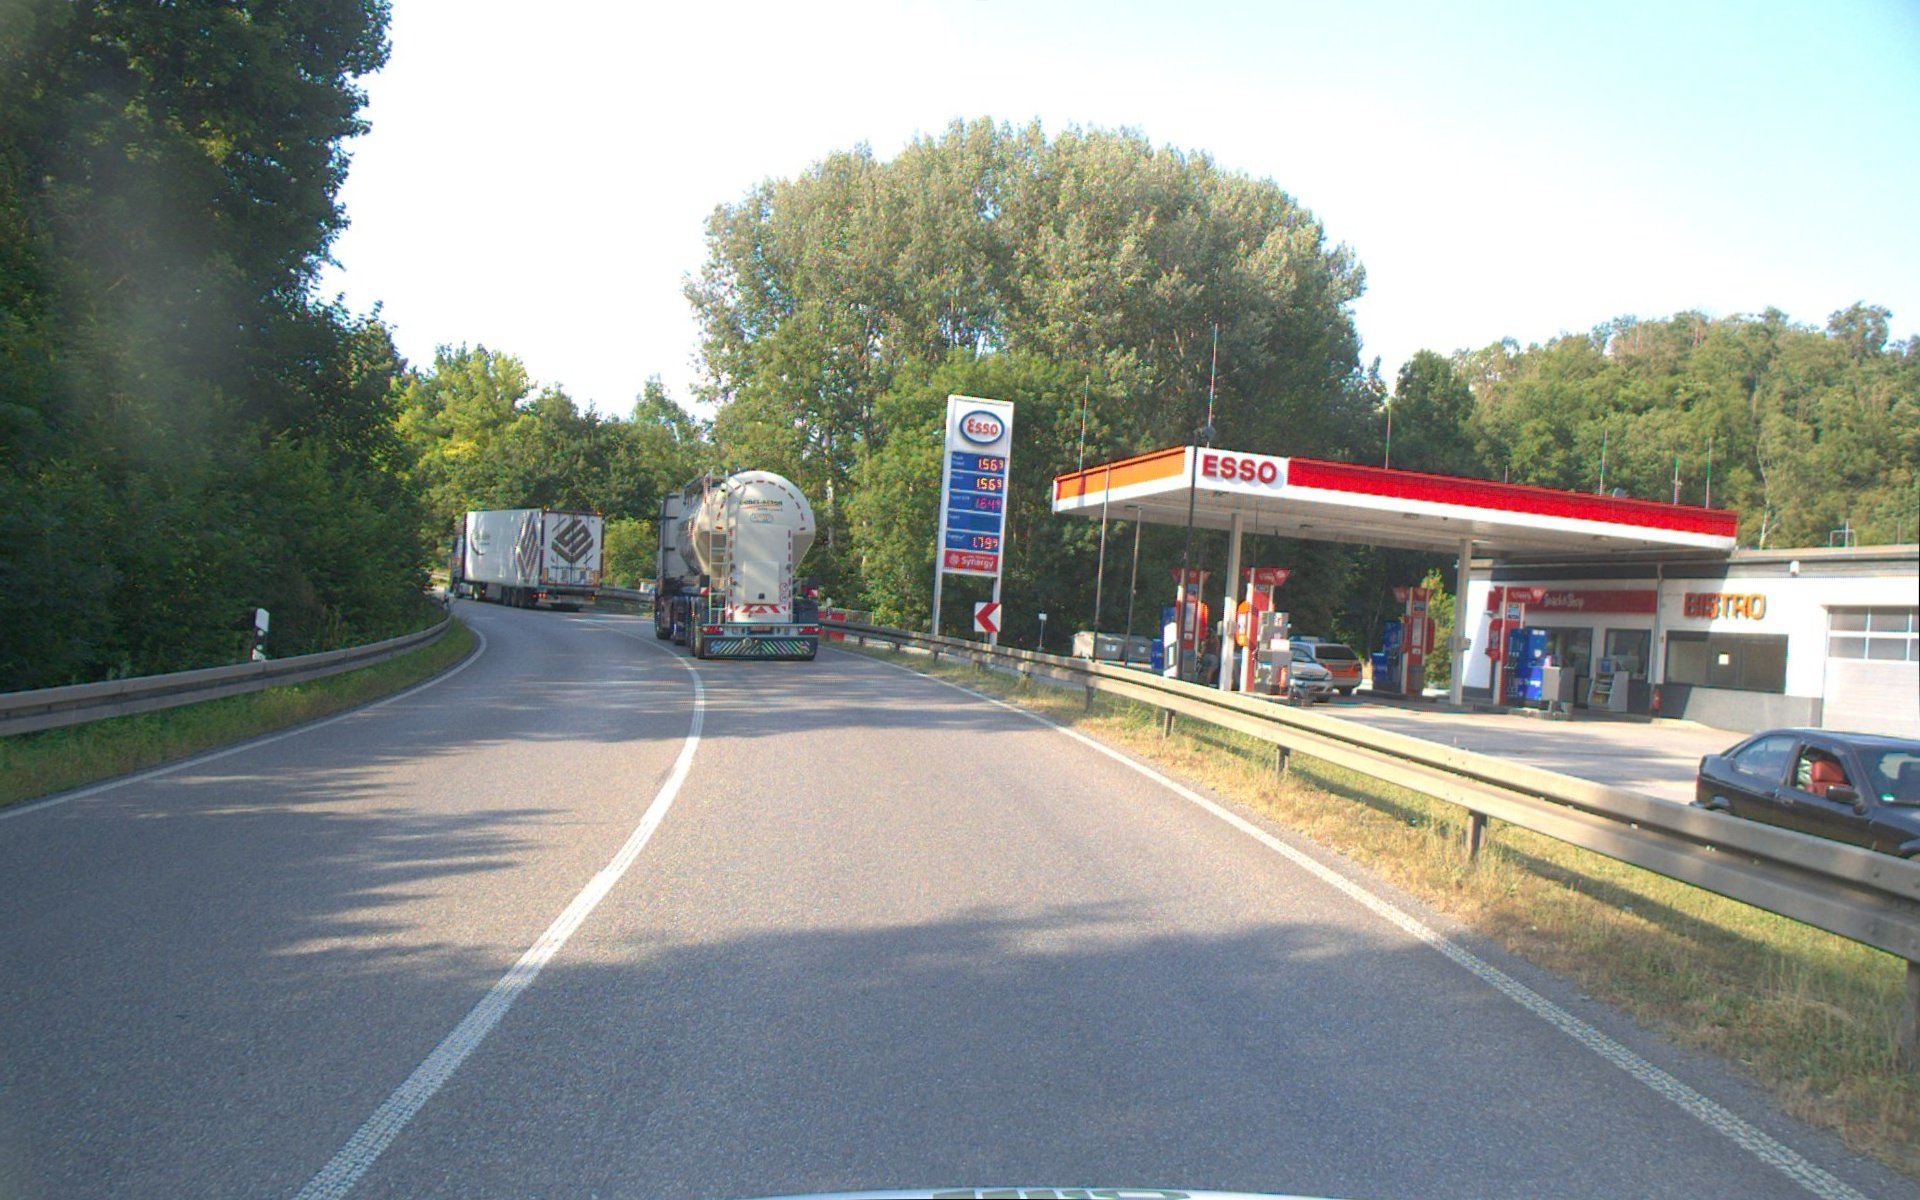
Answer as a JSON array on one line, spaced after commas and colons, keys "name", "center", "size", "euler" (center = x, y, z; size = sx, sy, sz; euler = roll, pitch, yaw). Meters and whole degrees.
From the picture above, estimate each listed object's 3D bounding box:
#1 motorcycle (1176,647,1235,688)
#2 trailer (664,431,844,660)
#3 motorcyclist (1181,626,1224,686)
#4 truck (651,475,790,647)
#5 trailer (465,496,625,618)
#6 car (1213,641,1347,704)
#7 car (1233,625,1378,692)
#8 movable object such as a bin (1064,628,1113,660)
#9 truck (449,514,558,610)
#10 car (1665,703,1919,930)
[{"name": "motorcycle", "center": [7.024, 1.930, 47.476], "size": [0.749, 1.029, 2.331], "euler": [4, 0, -15]}, {"name": "trailer", "center": [-4.948, -1.137, 37.917], "size": [2.838, 4.532, 9.570], "euler": [1, 0, -14]}, {"name": "motorcyclist", "center": [6.990, 1.616, 47.713], "size": [0.844, 1.632, 0.924], "euler": [4, -1, -15]}, {"name": "truck", "center": [-6.310, -0.971, 42.914], "size": [2.779, 4.105, 5.868], "euler": [0, 1, -16]}, {"name": "trailer", "center": [-18.147, -1.853, 71.424], "size": [3.505, 4.591, 12.866], "euler": [4, 0, -28]}, {"name": "car", "center": [8.484, 1.905, 44.263], "size": [1.811, 1.342, 4.374], "euler": [4, 0, -14]}, {"name": "car", "center": [10.233, 1.702, 49.458], "size": [2.058, 1.656, 5.159], "euler": [4, 0, -15]}, {"name": "movable object such as a bin", "center": [6.719, 2.282, 86.700], "size": [1.252, 1.444, 2.533], "euler": [7, -2, -29]}, {"name": "truck", "center": [-21.516, -1.778, 77.689], "size": [3.412, 4.157, 6.430], "euler": [4, 0, -28]}, {"name": "car", "center": [7.686, 1.713, 13.404], "size": [1.789, 1.376, 4.268], "euler": [3, 0, -5]}]
